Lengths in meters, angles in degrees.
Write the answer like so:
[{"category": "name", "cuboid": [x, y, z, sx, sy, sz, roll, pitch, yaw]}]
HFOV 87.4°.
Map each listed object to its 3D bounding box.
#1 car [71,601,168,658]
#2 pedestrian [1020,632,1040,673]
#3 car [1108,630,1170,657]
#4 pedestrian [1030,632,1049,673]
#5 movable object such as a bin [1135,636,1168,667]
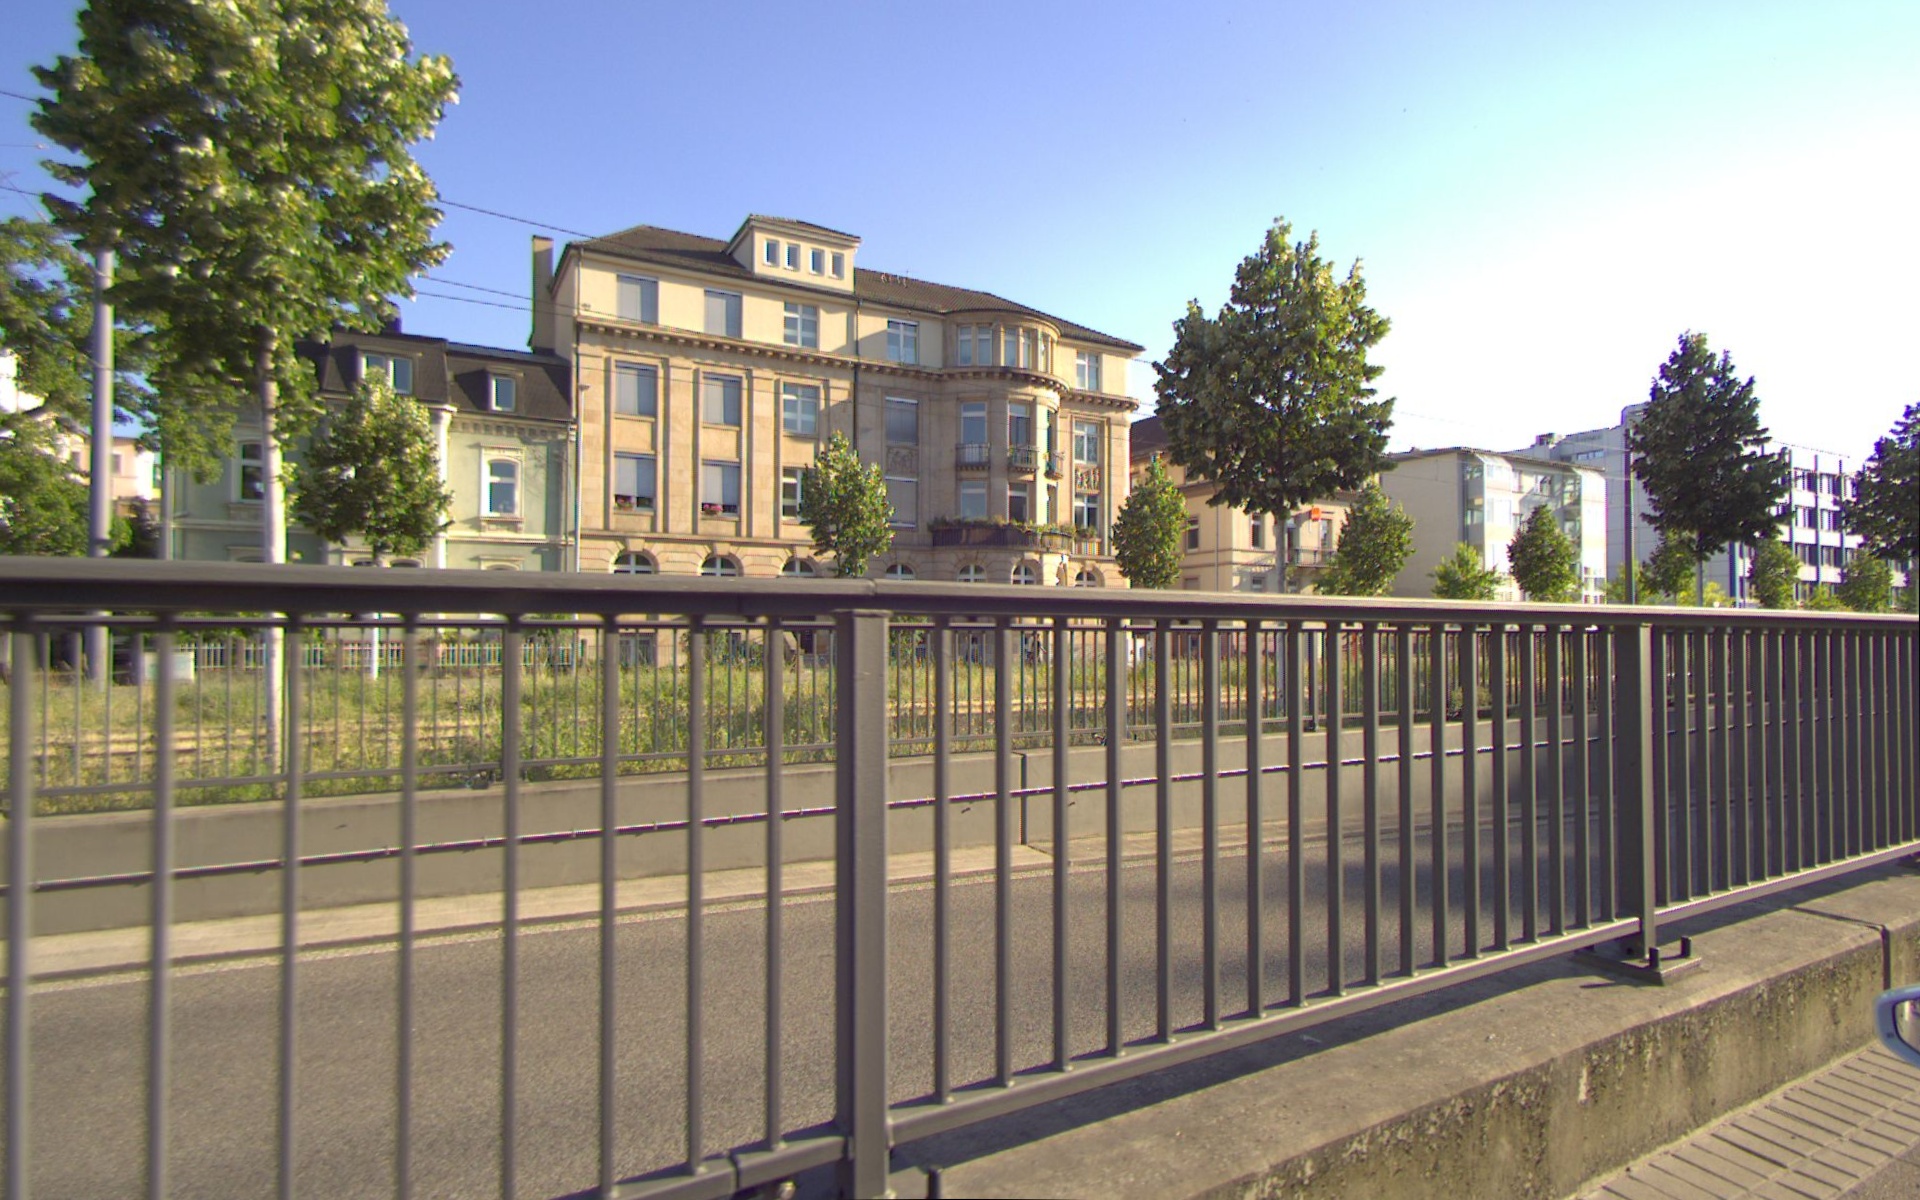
[{"category": "car", "cuboid": [-32.469, 1.146, 38.927, 1.974, 2.073, 3.973, 1, -2, -27]}, {"category": "pedestrian", "cuboid": [3.063, 2.289, 43.815, 0.645, 1.743, 0.653, 1, -2, -30]}, {"category": "car", "cuboid": [10.964, 2.646, 61.825, 1.661, 1.488, 3.971, 2, -1, -28]}, {"category": "pedestrian", "cuboid": [3.416, 2.261, 43.166, 0.645, 1.743, 0.553, 1, -2, -30]}, {"category": "movable object such as a bin", "cuboid": [9.288, 2.491, 48.819, 1.067, 1.447, 1.200, 1, -2, -30]}]
